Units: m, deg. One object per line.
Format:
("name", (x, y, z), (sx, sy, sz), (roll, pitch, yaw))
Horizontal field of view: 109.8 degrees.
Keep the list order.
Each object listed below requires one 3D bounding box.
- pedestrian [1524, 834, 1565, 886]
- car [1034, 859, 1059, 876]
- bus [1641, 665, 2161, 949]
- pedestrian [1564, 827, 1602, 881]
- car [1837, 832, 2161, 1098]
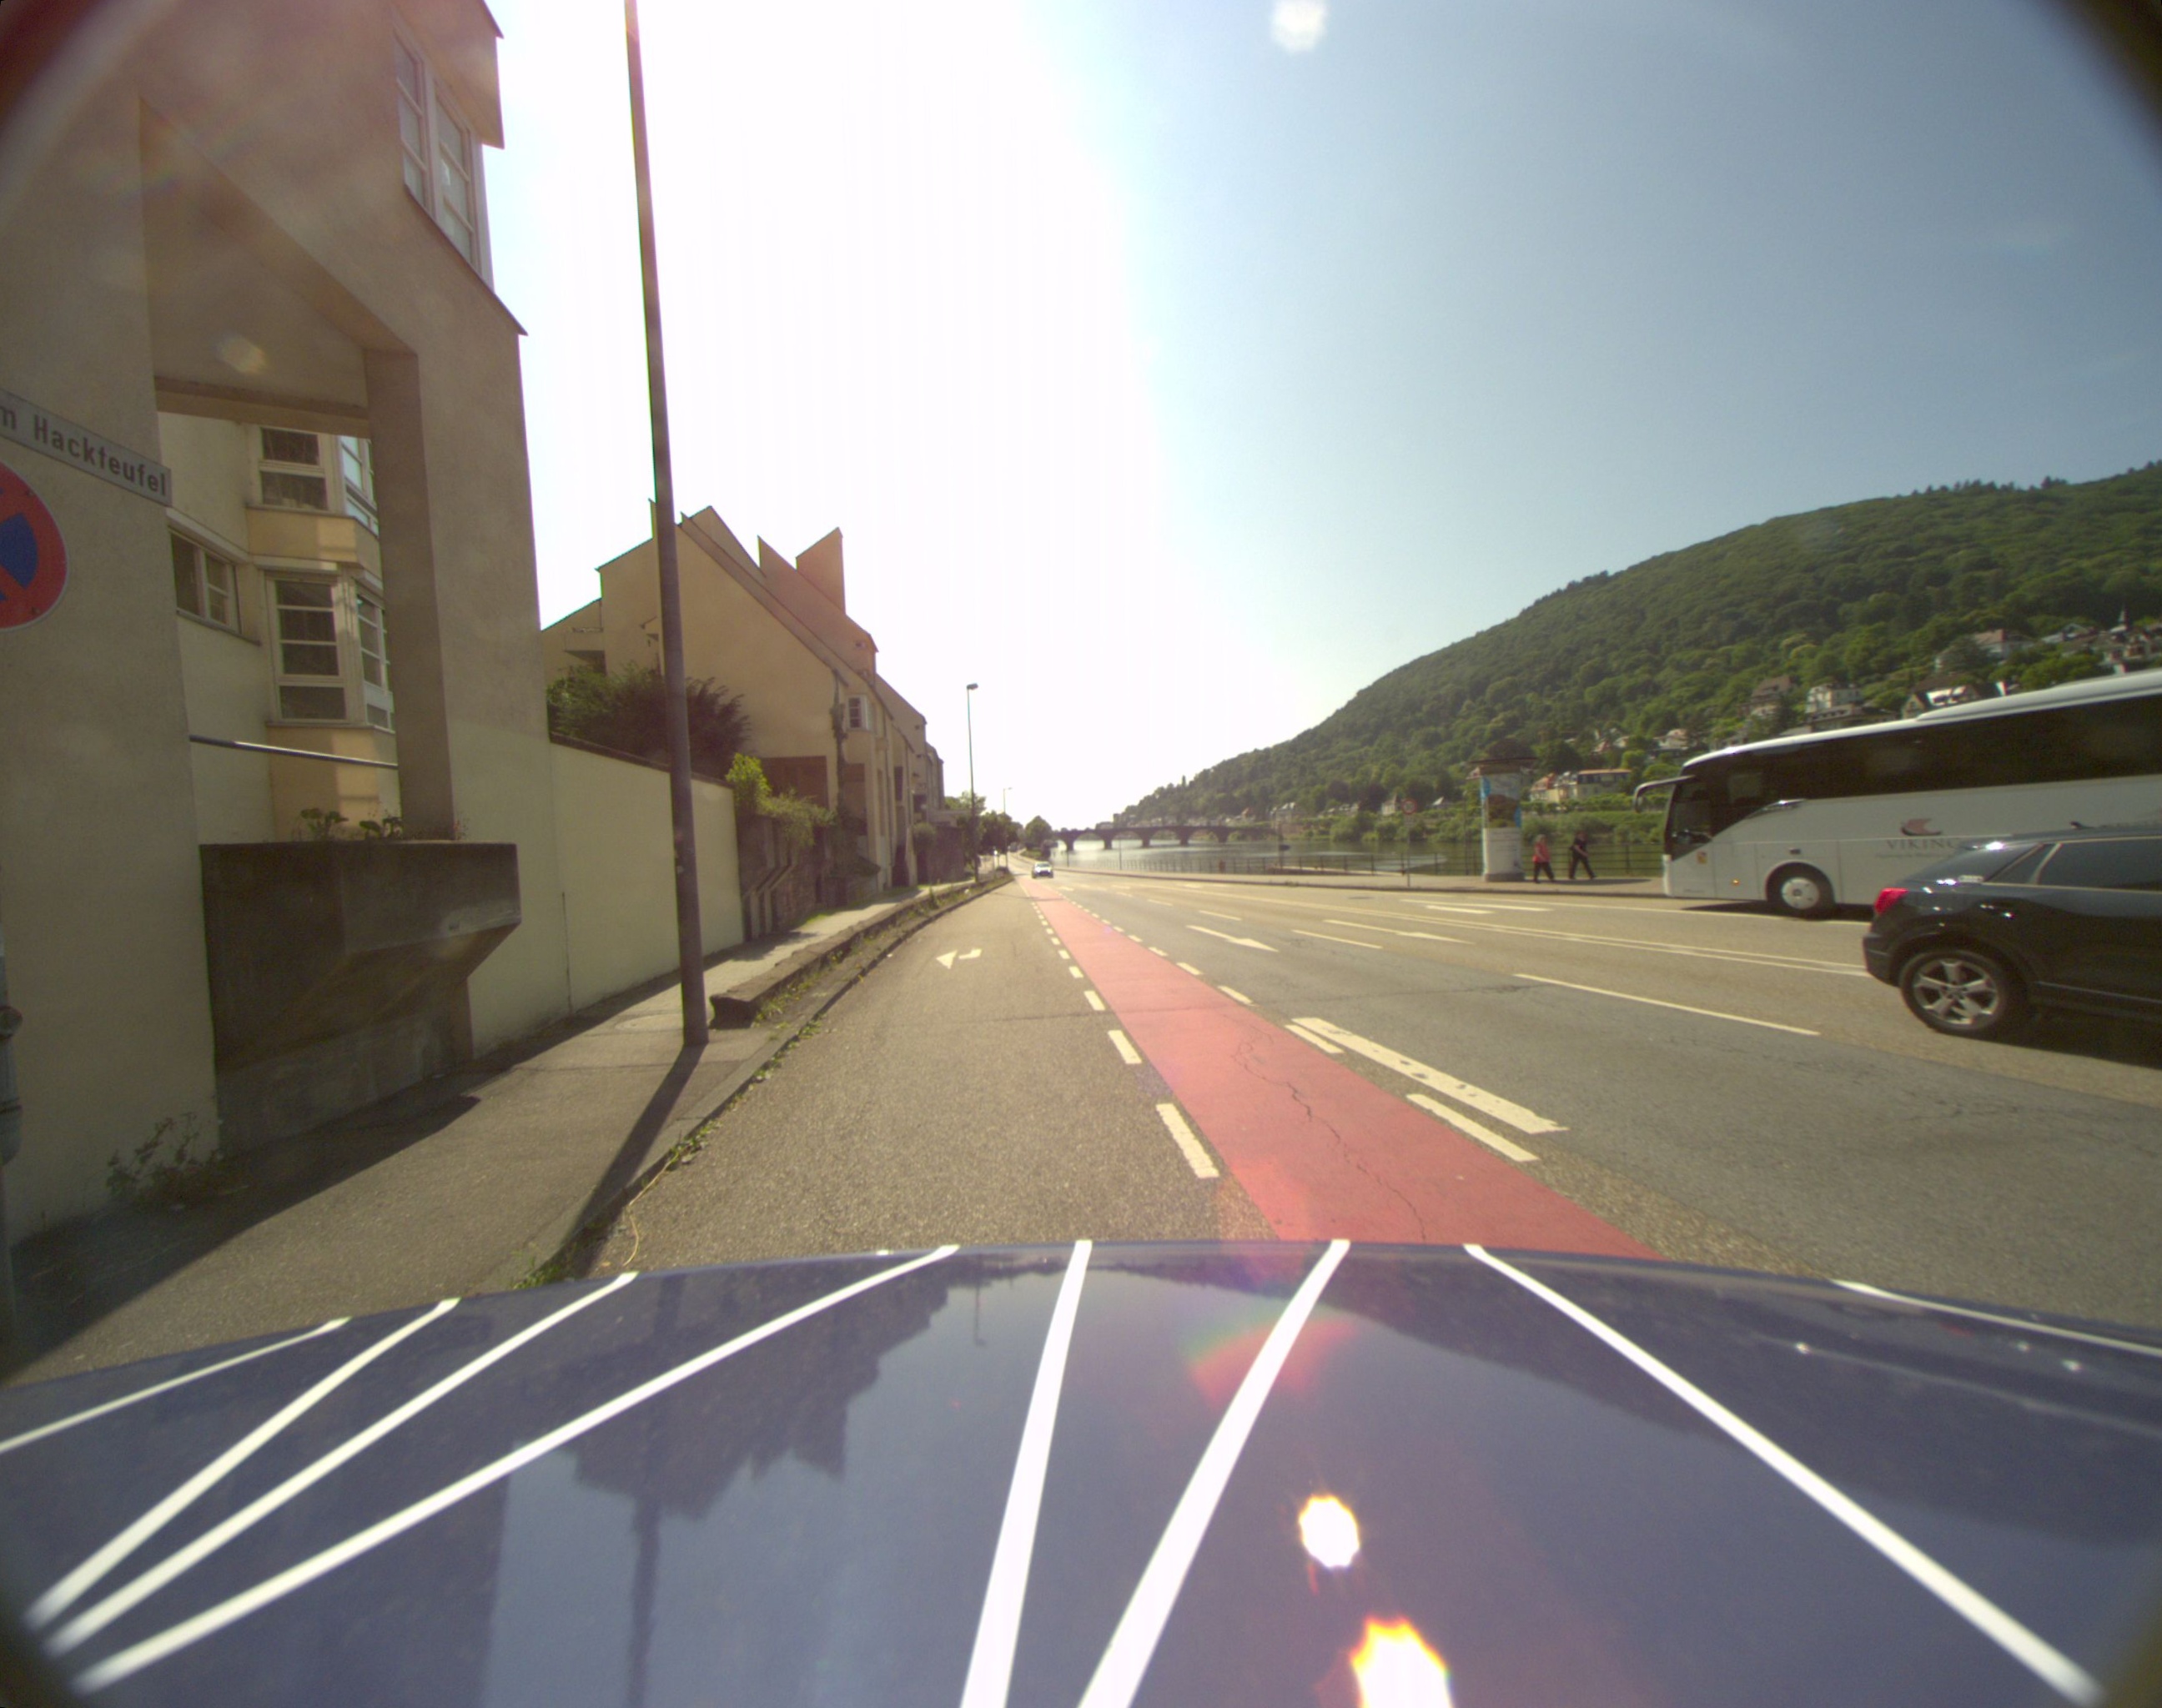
("pedestrian", (14.747, 0.193, 24.162), (0.705, 1.612, 0.815), (-3, 1, -18))
("car", (-3.220, 1.224, 69.708), (2.000, 1.433, 3.997), (-2, 0, -7))
("bus", (15.645, -0.732, 10.977), (2.967, 3.779, 13.229), (-6, 1, -13))
("pedestrian", (16.335, 0.000, 24.734), (0.686, 1.699, 0.772), (-3, 1, -24))
("car", (7.329, 0.646, 4.202), (1.875, 1.505, 4.147), (-3, 1, -8))
